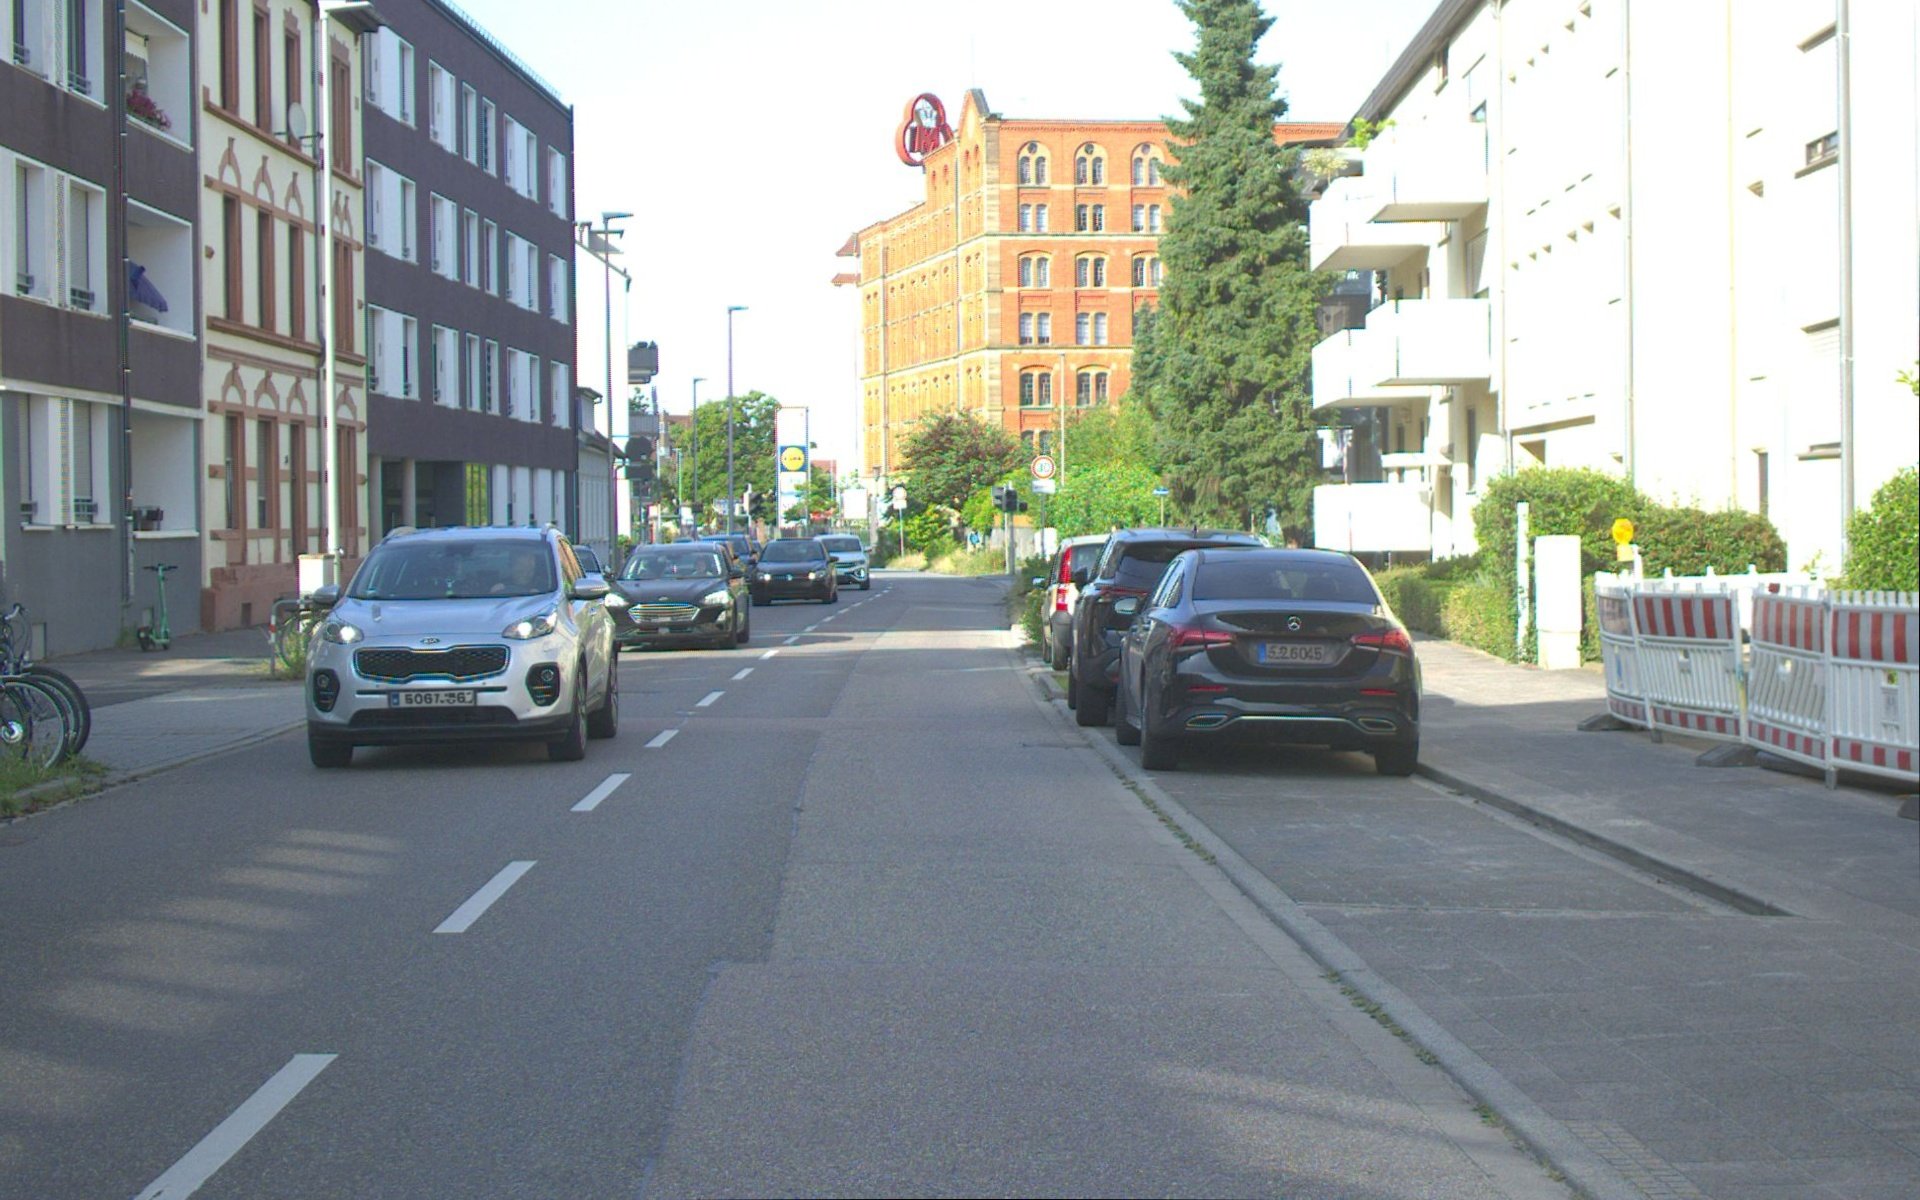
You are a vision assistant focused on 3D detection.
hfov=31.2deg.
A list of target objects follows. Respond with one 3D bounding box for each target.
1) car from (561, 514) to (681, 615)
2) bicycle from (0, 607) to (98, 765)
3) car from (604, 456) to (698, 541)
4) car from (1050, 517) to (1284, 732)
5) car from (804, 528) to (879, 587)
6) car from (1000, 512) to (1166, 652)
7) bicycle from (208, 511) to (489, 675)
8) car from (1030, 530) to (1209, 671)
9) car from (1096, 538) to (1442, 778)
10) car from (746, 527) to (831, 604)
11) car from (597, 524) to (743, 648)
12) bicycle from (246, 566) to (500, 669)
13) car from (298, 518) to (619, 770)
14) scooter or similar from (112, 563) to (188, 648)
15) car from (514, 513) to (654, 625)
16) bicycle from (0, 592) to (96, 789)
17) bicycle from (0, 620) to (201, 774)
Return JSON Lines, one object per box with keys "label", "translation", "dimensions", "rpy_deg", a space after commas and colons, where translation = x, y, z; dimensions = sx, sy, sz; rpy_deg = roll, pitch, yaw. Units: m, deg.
{"label": "car", "translation": [-6.690, -0.719, 68.262], "dimensions": [1.993, 1.901, 4.000], "rpy_deg": [-1, 1, 0]}
{"label": "bicycle", "translation": [-6.718, 0.580, 23.336], "dimensions": [1.584, 1.037, 0.708], "rpy_deg": [-1, 1, -6]}
{"label": "car", "translation": [-7.543, -2.461, 84.224], "dimensions": [1.993, 2.007, 4.000], "rpy_deg": [0, 1, -1]}
{"label": "car", "translation": [1.655, 0.158, 28.486], "dimensions": [1.601, 1.640, 3.685], "rpy_deg": [-1, 1, -1]}
{"label": "car", "translation": [-3.246, -1.192, 95.179], "dimensions": [1.993, 1.590, 4.000], "rpy_deg": [0, 1, -1]}
{"label": "car", "translation": [1.574, -0.266, 45.370], "dimensions": [1.993, 1.766, 4.000], "rpy_deg": [0, 1, -1]}
{"label": "bicycle", "translation": [-6.834, -0.090, 38.575], "dimensions": [2.917, 1.771, 1.202], "rpy_deg": [-1, 1, 0]}
{"label": "car", "translation": [1.819, -0.037, 40.211], "dimensions": [1.763, 1.521, 4.000], "rpy_deg": [-2, 1, -1]}
{"label": "car", "translation": [2.006, 0.327, 23.412], "dimensions": [1.859, 1.467, 4.000], "rpy_deg": [-1, 1, -2]}
{"label": "car", "translation": [-3.775, -0.782, 76.319], "dimensions": [1.763, 1.610, 4.000], "rpy_deg": [-1, 1, -1]}
{"label": "car", "translation": [-3.981, -0.225, 47.682], "dimensions": [1.763, 1.610, 4.000], "rpy_deg": [-1, 1, -1]}
{"label": "bicycle", "translation": [-6.866, 0.201, 40.352], "dimensions": [2.773, 1.140, 1.143], "rpy_deg": [-1, 1, 0]}
{"label": "car", "translation": [-3.478, 0.252, 24.489], "dimensions": [1.763, 1.610, 4.000], "rpy_deg": [-1, 1, -1]}
{"label": "scooter or similar", "translation": [-10.829, 0.063, 46.006], "dimensions": [0.633, 1.100, 1.610], "rpy_deg": [1, 1, -1]}
{"label": "car", "translation": [-6.421, -0.547, 59.071], "dimensions": [1.993, 1.829, 3.689], "rpy_deg": [-1, 1, 0]}
{"label": "bicycle", "translation": [-6.542, 0.572, 21.748], "dimensions": [2.000, 1.213, 0.708], "rpy_deg": [-1, 1, -6]}
{"label": "bicycle", "translation": [-6.229, 0.638, 22.631], "dimensions": [2.339, 0.967, 0.708], "rpy_deg": [-1, 1, -6]}
